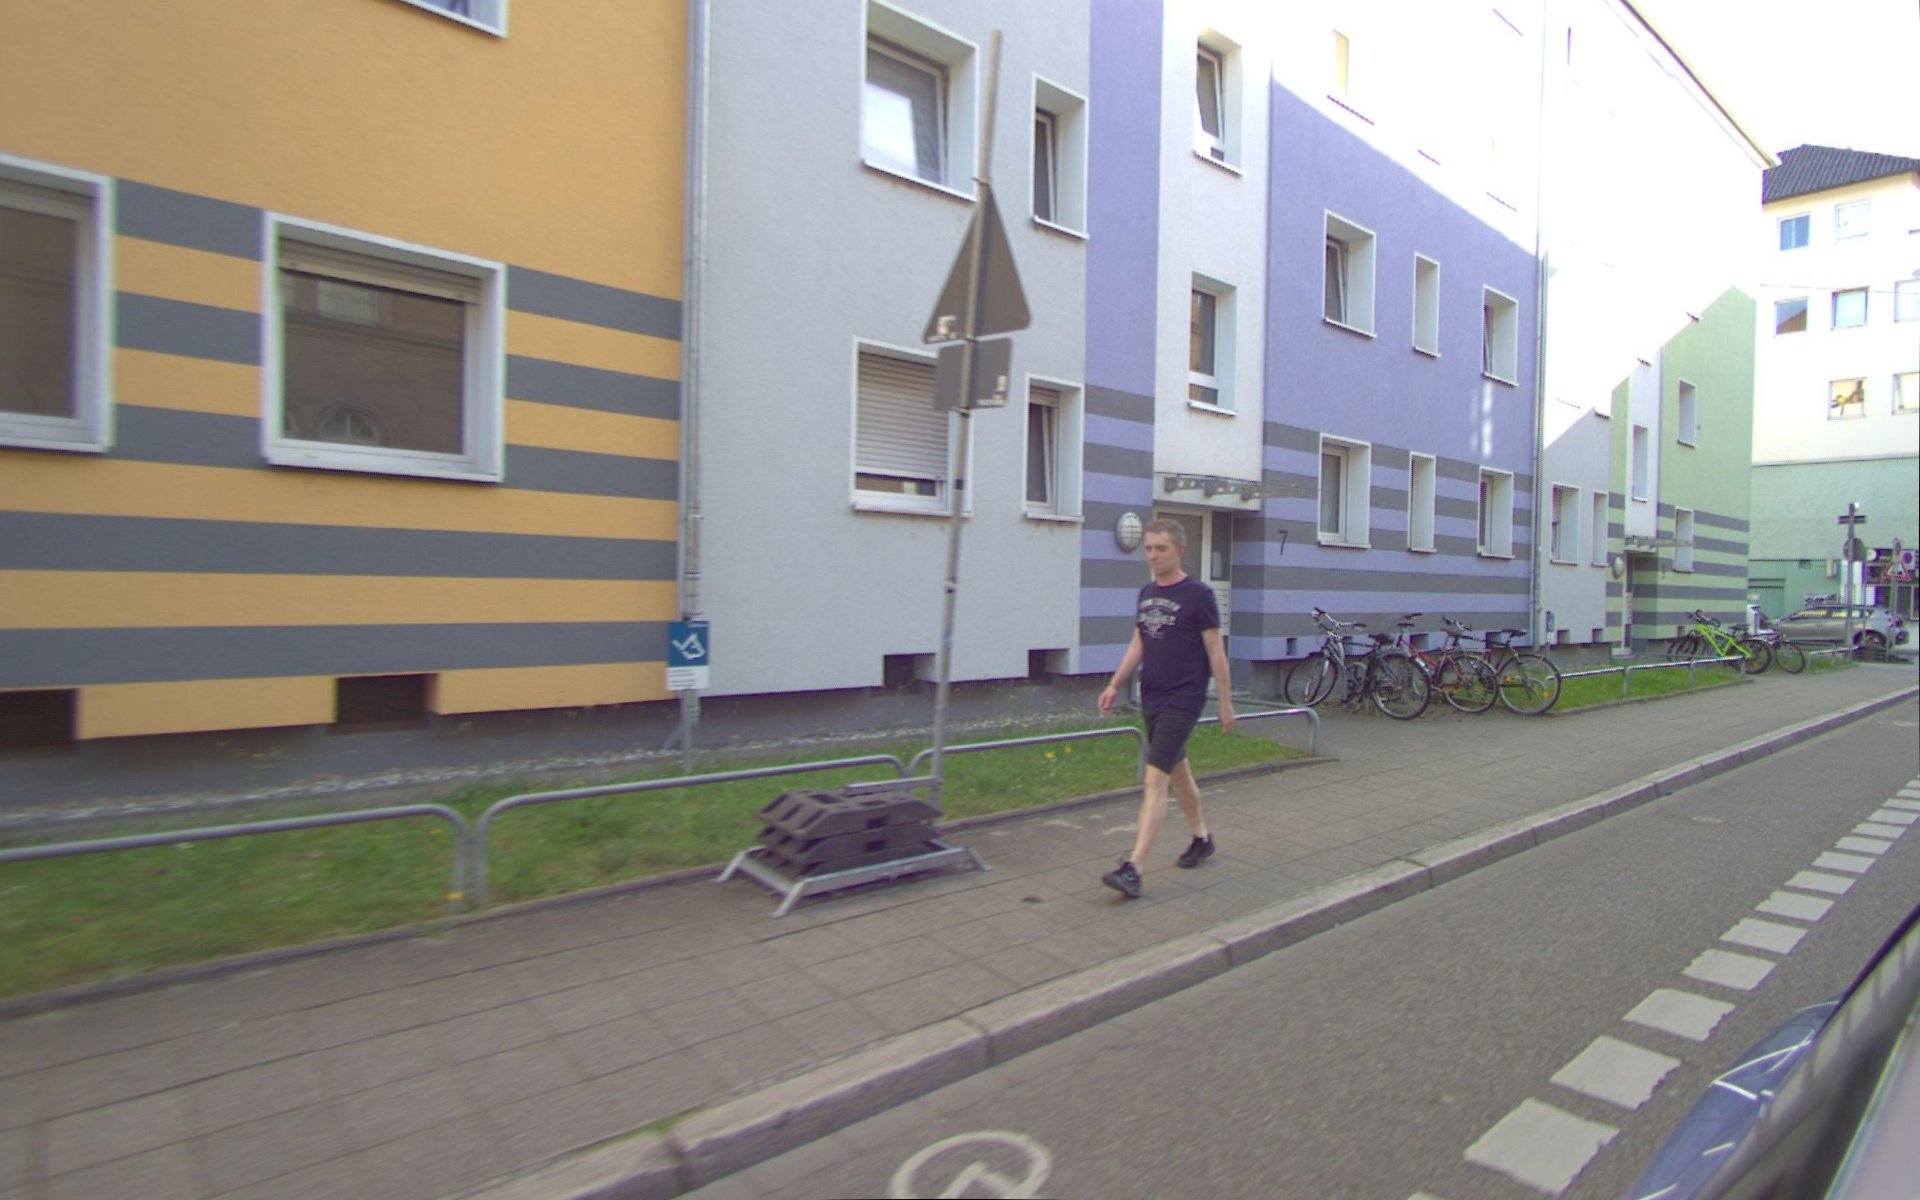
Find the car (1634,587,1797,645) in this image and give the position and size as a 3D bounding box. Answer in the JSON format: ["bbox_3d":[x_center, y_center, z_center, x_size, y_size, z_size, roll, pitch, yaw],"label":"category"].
[{"bbox_3d":[22.336,0.430,30.022,1.678,1.500,3.555,0,2,-38],"label":"car"}]

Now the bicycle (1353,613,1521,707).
[{"bbox_3d":[5.718,0.686,12.221,0.542,0.958,1.752,0,3,-39],"label":"bicycle"}]

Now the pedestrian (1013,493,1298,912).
[{"bbox_3d":[0.959,0.415,4.918,1.167,1.781,0.698,0,3,-40],"label":"pedestrian"}]

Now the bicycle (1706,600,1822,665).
[{"bbox_3d":[16.780,0.658,21.147,0.542,1.155,1.753,1,4,-39],"label":"bicycle"}]

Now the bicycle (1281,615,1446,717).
[{"bbox_3d":[4.472,0.700,11.331,0.329,0.958,1.752,0,3,-39],"label":"bicycle"}]

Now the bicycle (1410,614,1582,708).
[{"bbox_3d":[6.459,0.702,12.279,0.542,0.958,1.752,0,3,-39],"label":"bicycle"}]

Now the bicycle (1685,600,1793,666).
[{"bbox_3d":[15.693,0.649,20.425,1.641,1.155,0.279,6,4,43],"label":"bicycle"}]

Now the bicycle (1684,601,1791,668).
[{"bbox_3d":[15.509,0.671,20.213,1.603,1.155,0.234,6,4,43],"label":"bicycle"}]

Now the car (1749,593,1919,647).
[{"bbox_3d":[27.874,0.569,32.186,1.832,1.500,4.088,0,2,-39],"label":"car"}]

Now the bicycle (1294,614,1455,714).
[{"bbox_3d":[4.712,0.697,11.629,0.320,0.958,1.753,0,3,-38],"label":"bicycle"}]
